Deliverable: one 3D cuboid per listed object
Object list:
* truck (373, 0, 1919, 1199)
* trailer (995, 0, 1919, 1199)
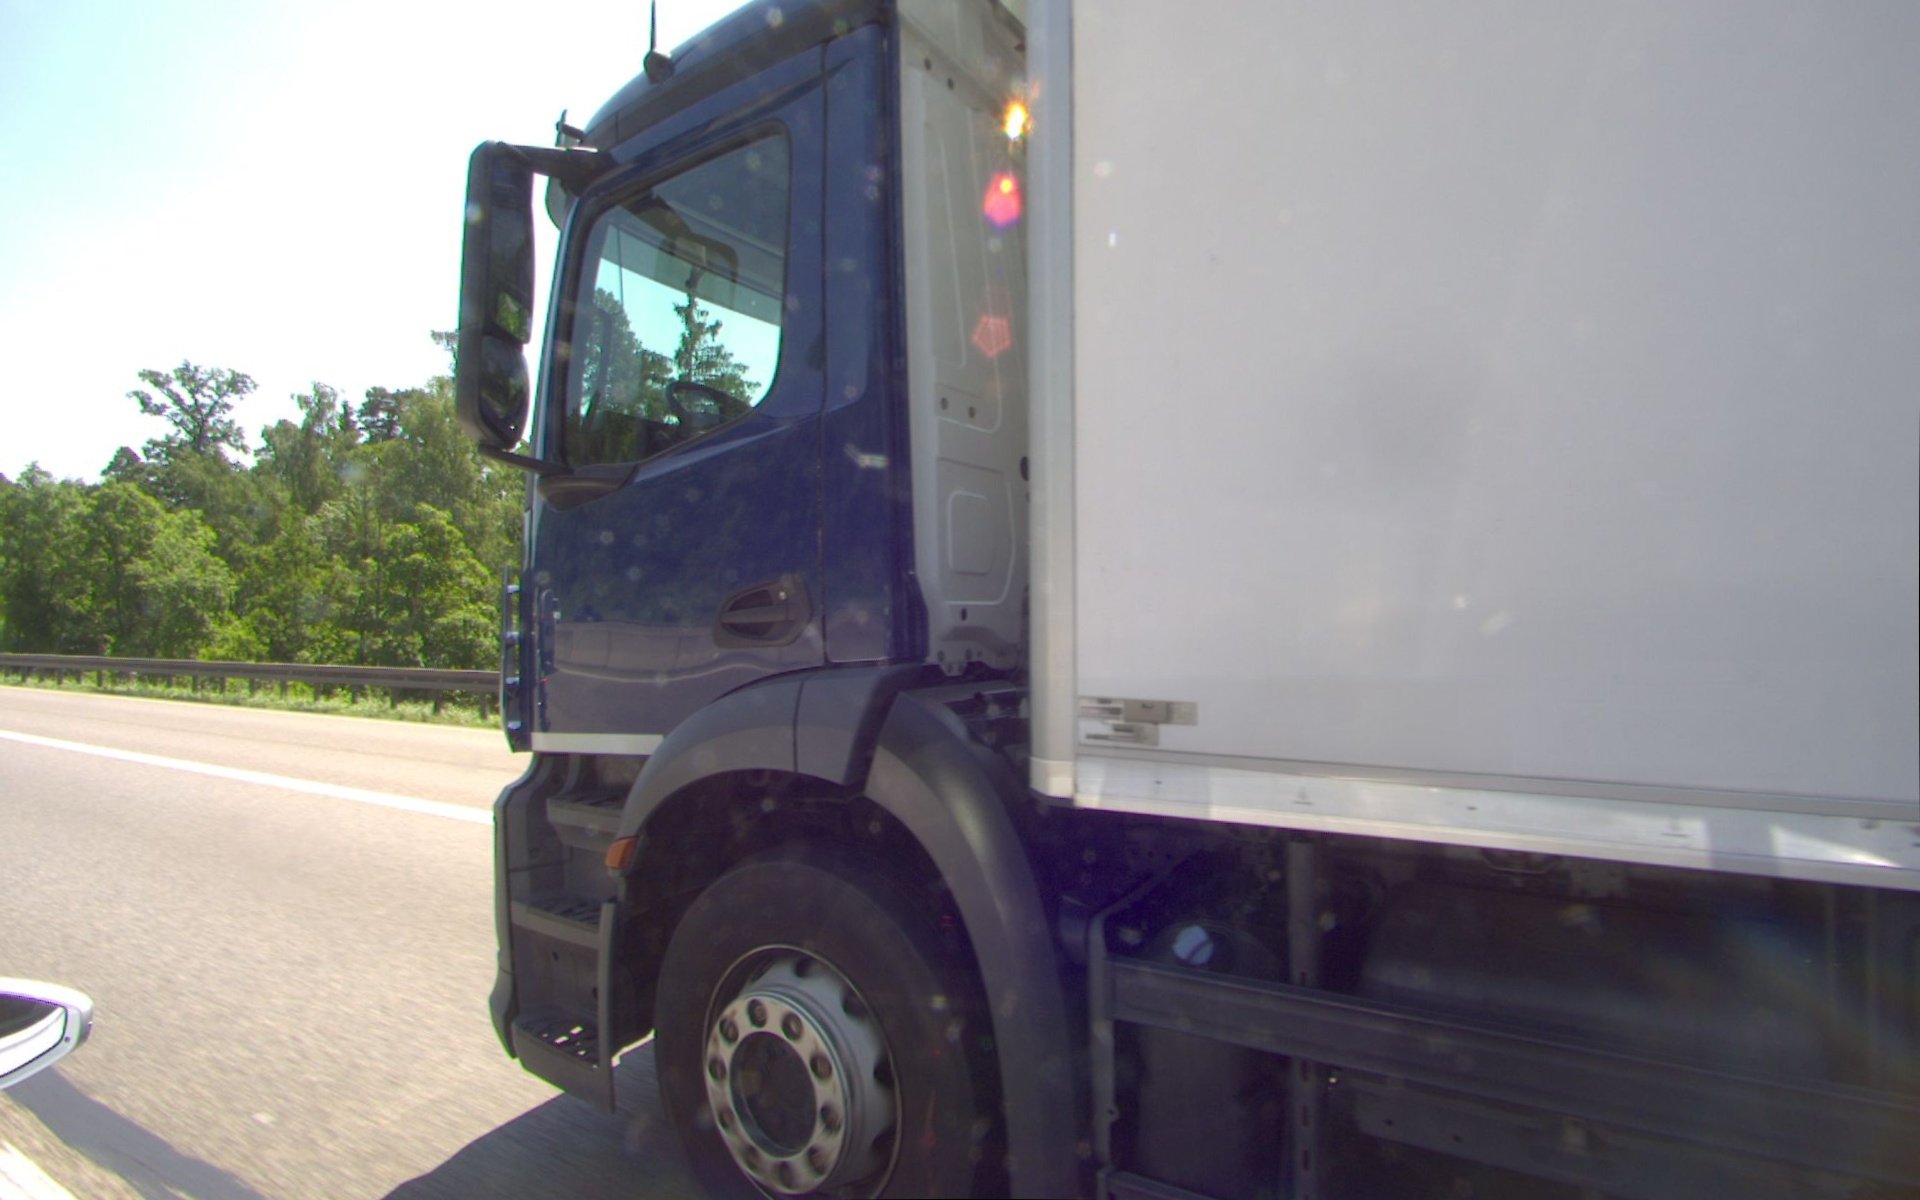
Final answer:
[{"bbox_3d":[0.841,0.009,2.658,4.045,2.978,2.551,-1,-1,32],"label":"truck"},{"bbox_3d":[4.011,-0.055,0.652,7.769,2.936,2.552,-1,-1,32],"label":"trailer"}]
